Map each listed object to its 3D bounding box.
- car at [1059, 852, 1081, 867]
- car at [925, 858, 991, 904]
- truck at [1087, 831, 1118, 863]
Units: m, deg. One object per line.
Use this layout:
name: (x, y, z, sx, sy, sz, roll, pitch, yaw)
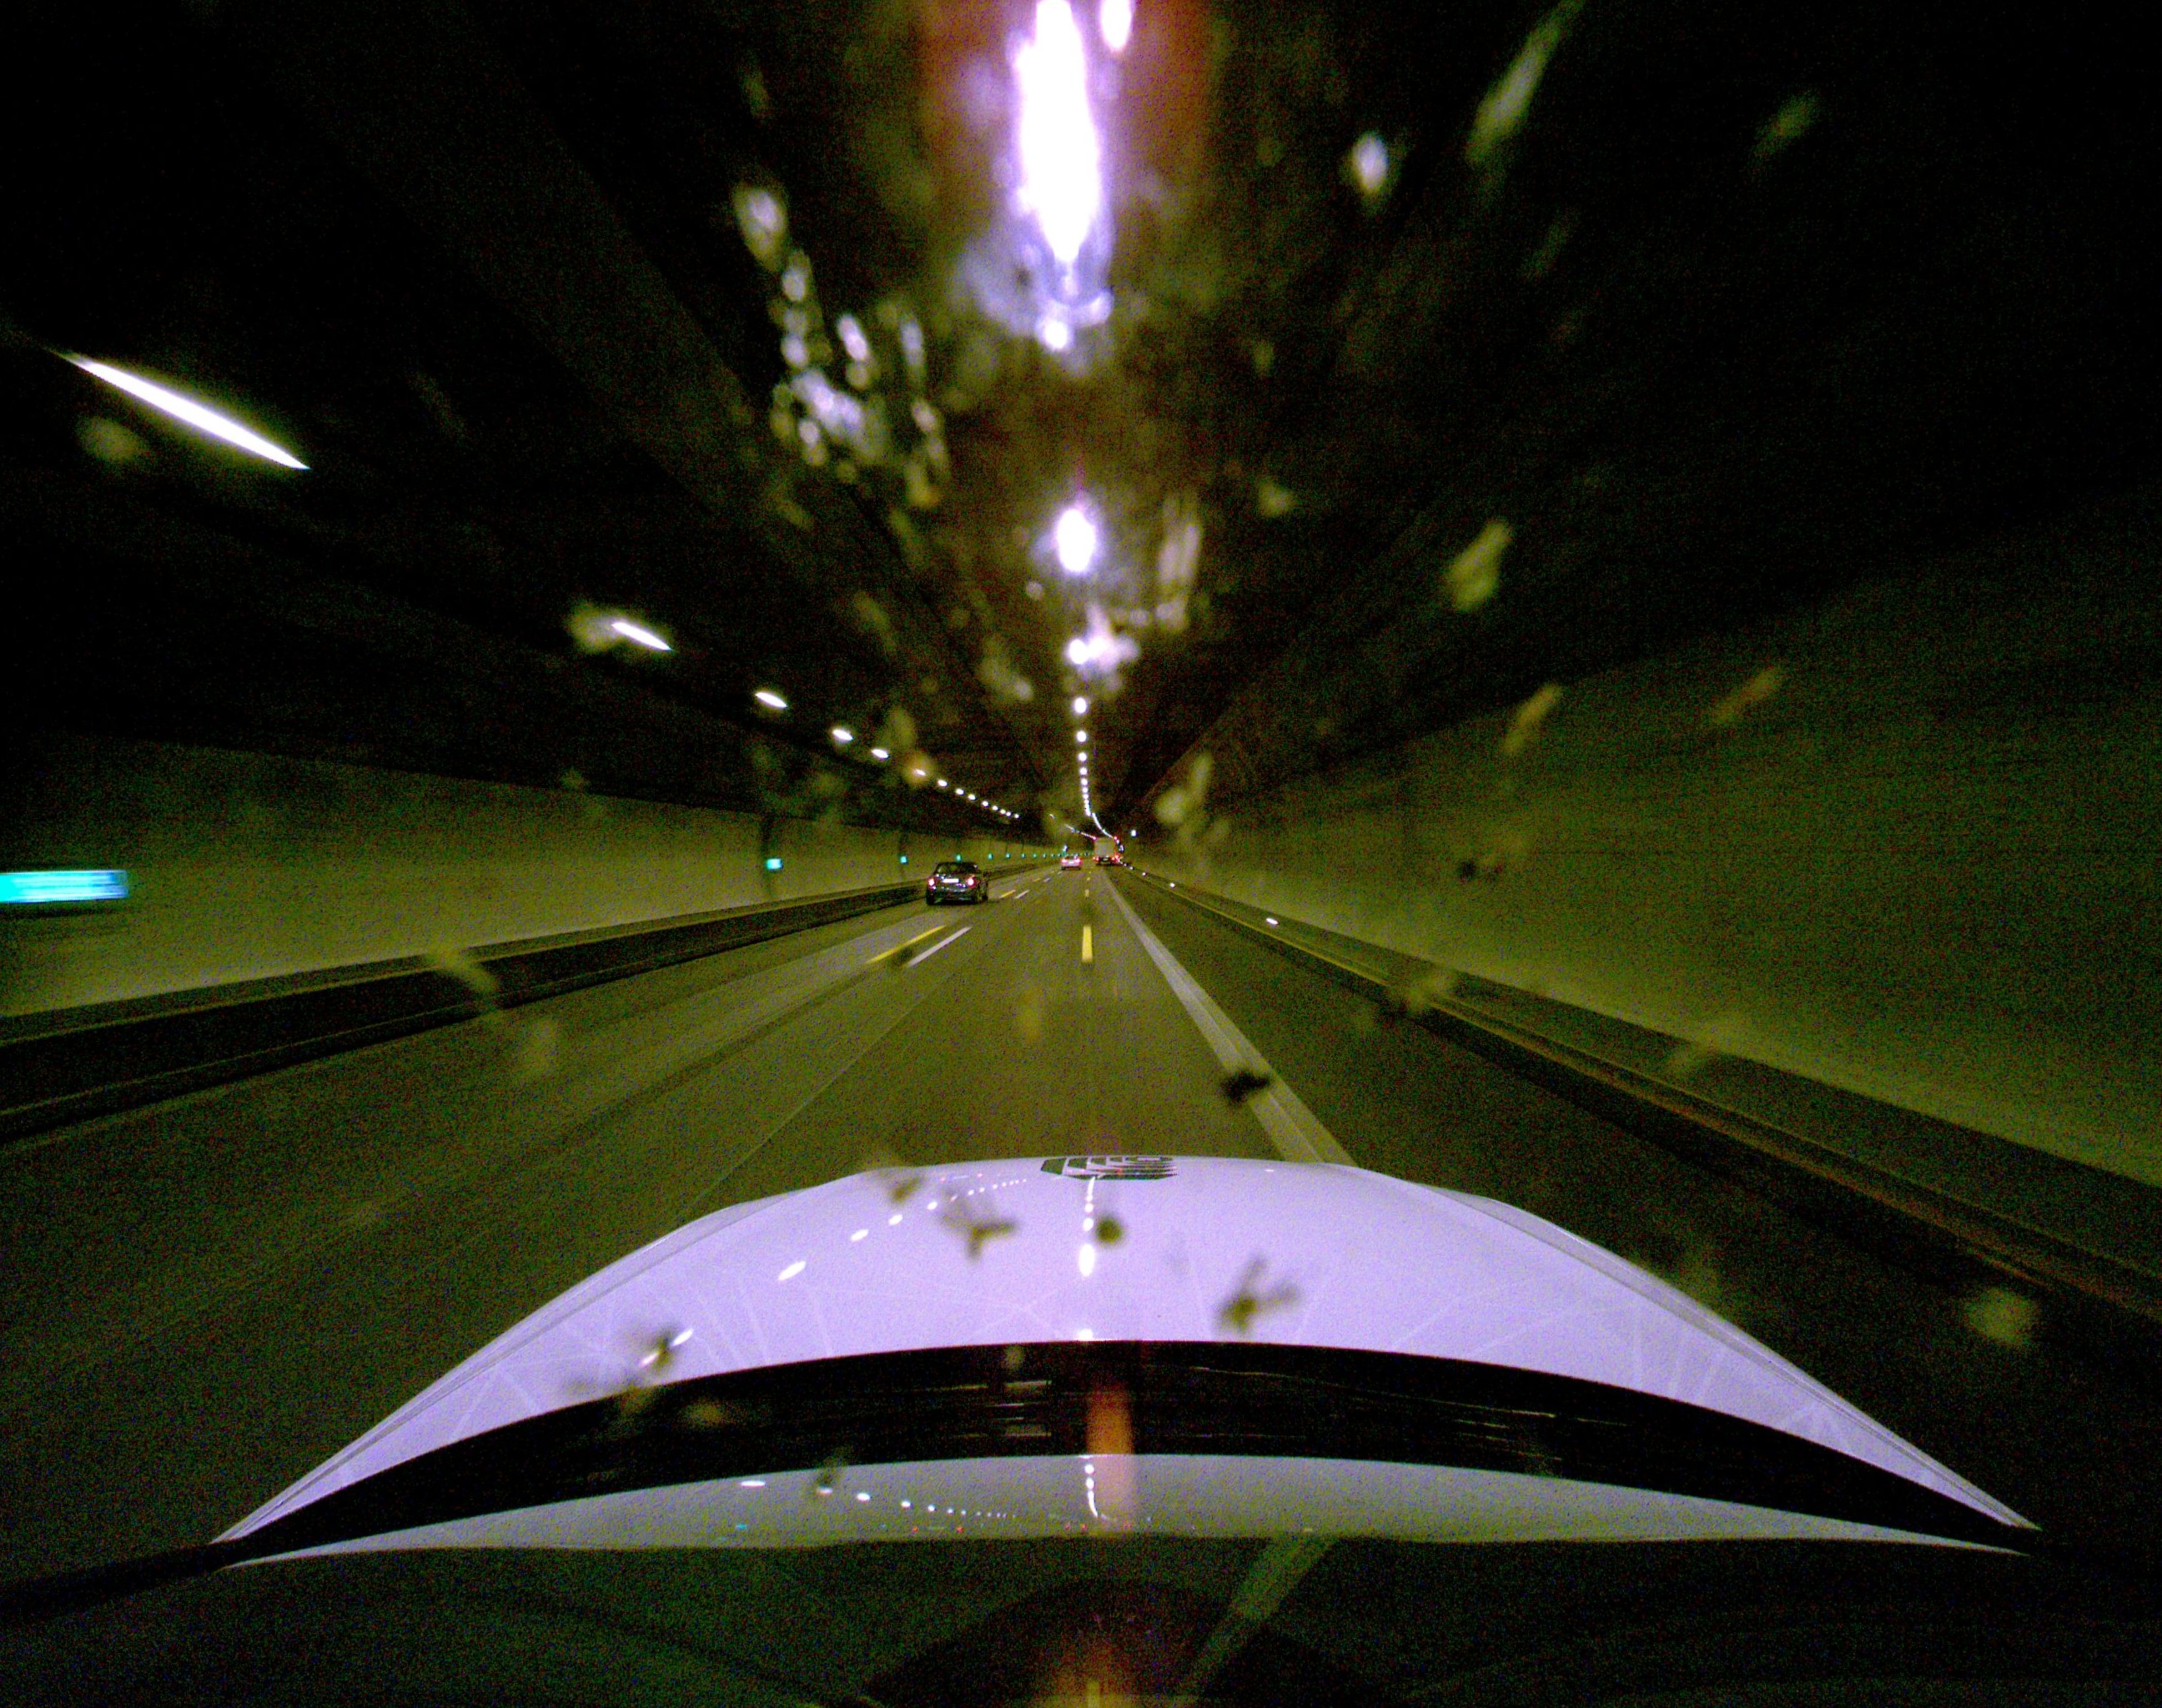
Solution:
car: (-1.085, 0.495, 78.178, 1.988, 1.413, 4.739, -1, 0, -2)
car: (-4.102, 0.856, 27.648, 1.684, 1.417, 3.921, -1, 0, -1)
truck: (2.711, -0.835, 101.174, 3.579, 3.650, 10.727, -1, 0, 2)
